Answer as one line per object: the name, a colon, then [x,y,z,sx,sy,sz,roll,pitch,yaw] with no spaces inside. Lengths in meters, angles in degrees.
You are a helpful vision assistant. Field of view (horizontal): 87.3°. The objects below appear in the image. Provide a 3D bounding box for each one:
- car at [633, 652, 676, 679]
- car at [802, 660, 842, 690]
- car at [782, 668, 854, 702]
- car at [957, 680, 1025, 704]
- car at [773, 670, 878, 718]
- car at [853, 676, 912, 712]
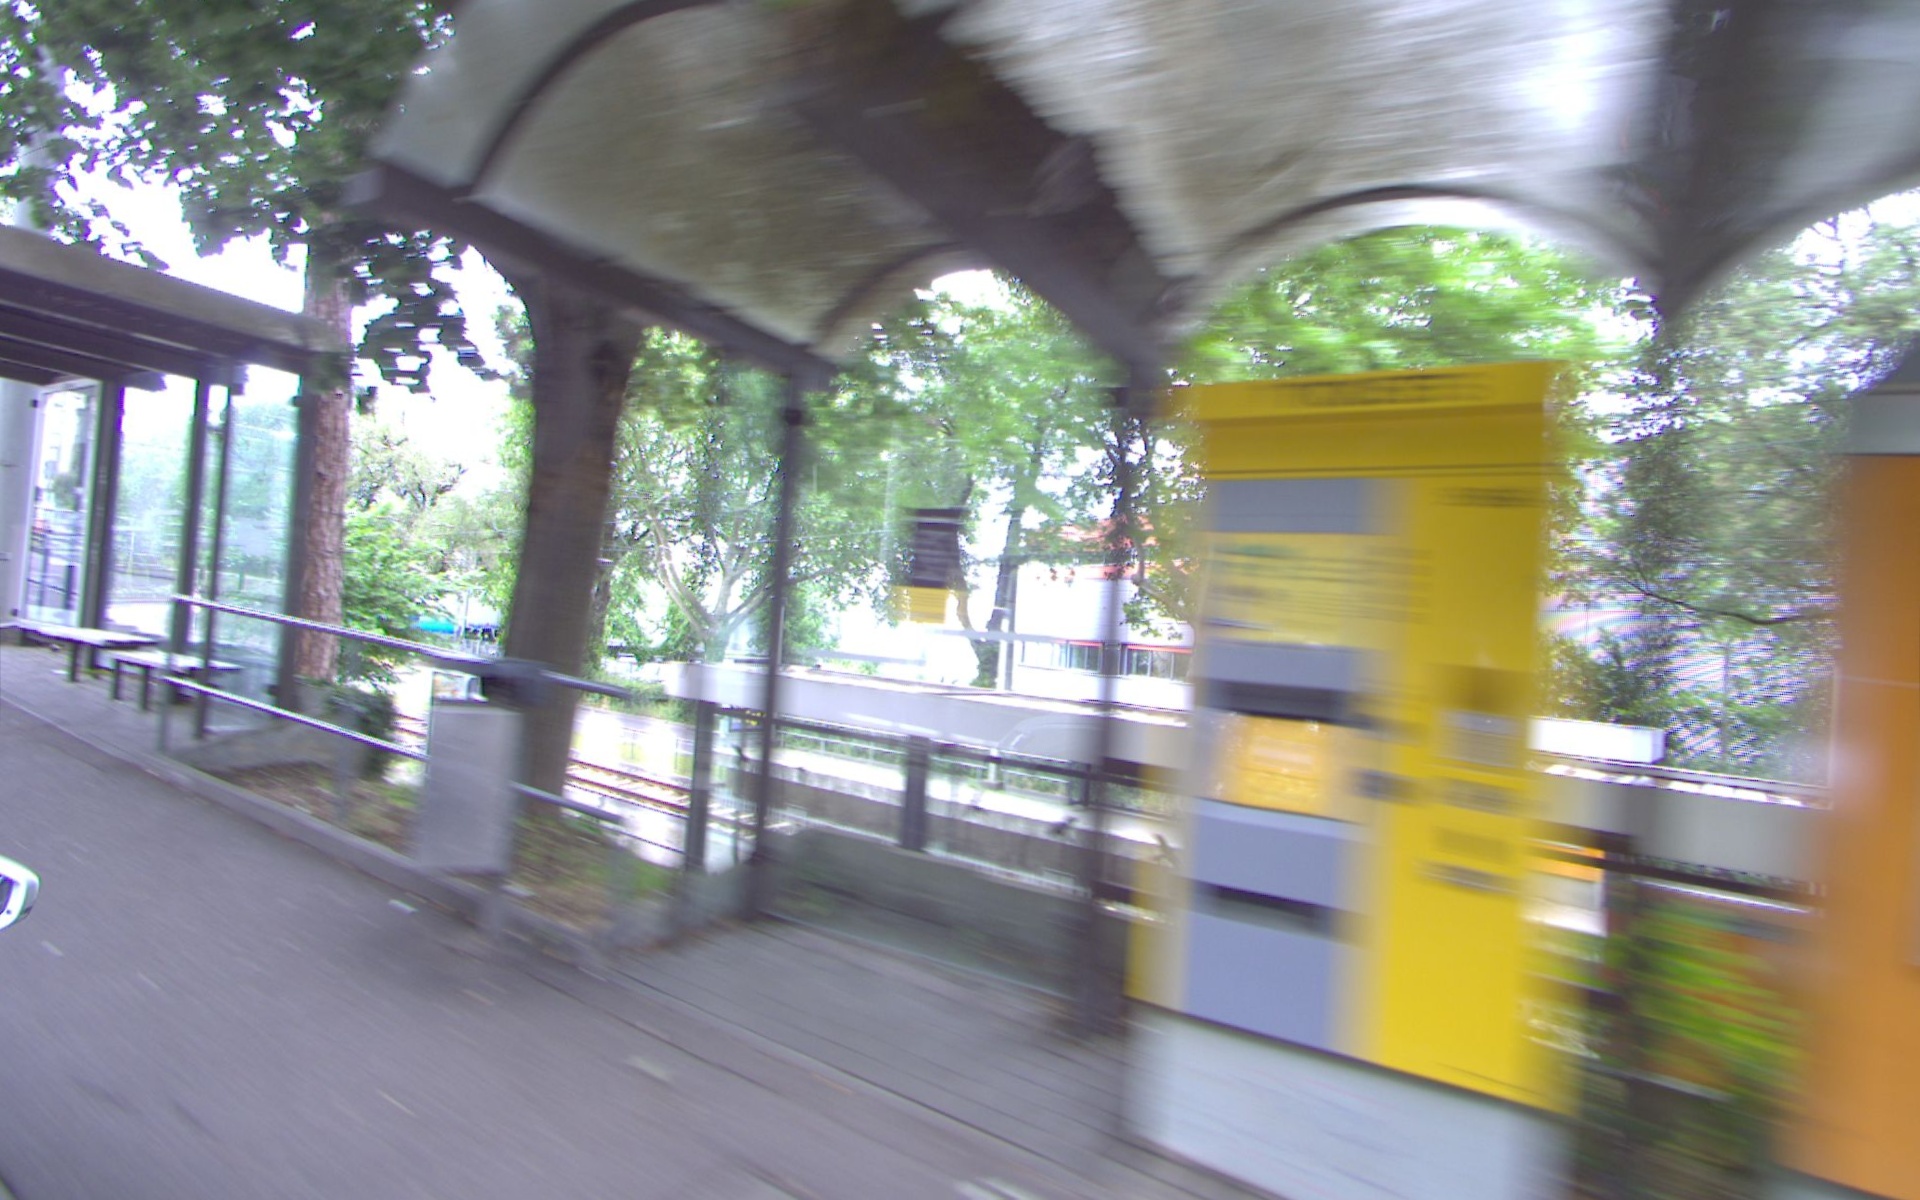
car: [-22.512,4.797,73.934,1.978,1.486,4.311,7,-2,-30]
car: [-10.918,5.873,79.191,1.974,1.832,3.979,7,-1,-23]
car: [-9.479,5.673,67.196,4.289,1.737,1.988,8,-1,-25]
car: [2.137,6.393,69.943,4.280,1.487,1.990,3,1,-22]
car: [-6.162,4.388,46.579,1.972,1.813,4.563,6,-2,40]
car: [-4.587,5.523,59.133,1.975,1.486,4.318,7,-2,-25]
